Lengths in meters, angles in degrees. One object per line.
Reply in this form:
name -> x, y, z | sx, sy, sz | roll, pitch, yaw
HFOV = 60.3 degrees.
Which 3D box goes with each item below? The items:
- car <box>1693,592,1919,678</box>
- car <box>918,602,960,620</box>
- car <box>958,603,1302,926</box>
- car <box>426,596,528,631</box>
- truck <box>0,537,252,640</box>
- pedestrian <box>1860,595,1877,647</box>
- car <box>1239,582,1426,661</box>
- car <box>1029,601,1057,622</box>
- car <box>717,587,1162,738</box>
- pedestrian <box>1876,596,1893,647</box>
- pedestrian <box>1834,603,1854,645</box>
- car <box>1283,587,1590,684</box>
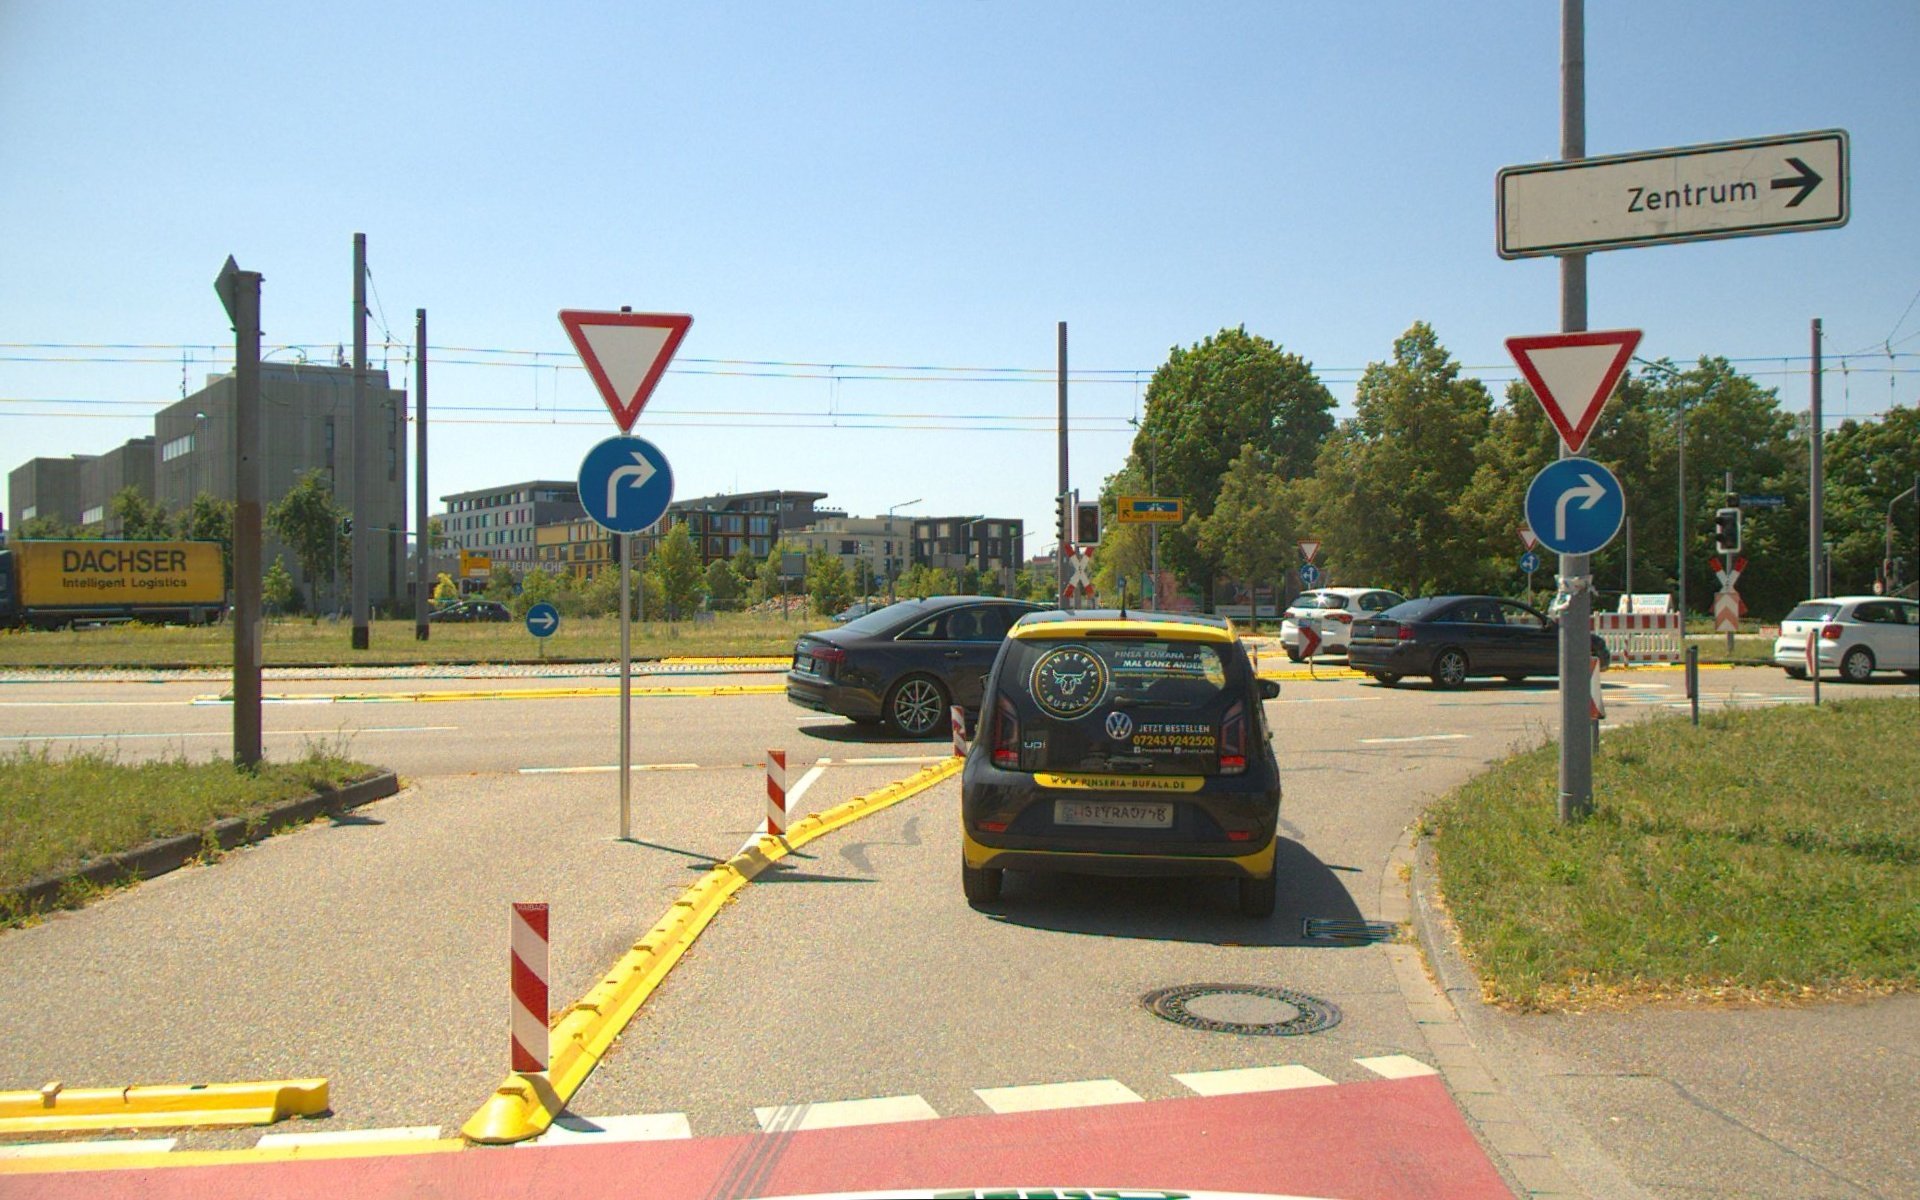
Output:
car -> 15.638, 0.626, 29.803 | 4.266, 1.474, 1.849 | 1, 0, -15
car -> -1.286, 0.689, 104.580 | 1.462, 1.109, 3.520 | 0, 0, 21
car -> 0.854, 0.770, 9.719 | 1.585, 1.477, 3.987 | 1, 0, 2
car -> -20.913, 0.583, 71.634 | 3.992, 1.487, 1.713 | 0, 0, -30
truck -> -32.762, -0.431, 64.080 | 9.540, 3.723, 2.664 | 0, 0, -44
pedestrian -> 31.405, 0.725, 57.171 | 0.438, 1.769, 0.291 | 0, 0, 11
car -> 7.747, 0.404, 34.123 | 1.964, 1.512, 4.342 | 0, 0, 41
car -> 5.662, 0.778, 112.257 | 1.623, 1.396, 3.034 | 0, 0, 9
car -> -0.256, 0.631, 18.372 | 4.565, 1.474, 1.989 | 0, 2, -19
pedestrian -> 31.919, 0.734, 57.107 | 0.438, 1.769, 0.318 | 0, 0, 11
pedestrian -> 30.320, 0.824, 56.718 | 0.509, 1.454, 0.352 | 0, 0, 9
car -> 7.807, 0.567, 27.053 | 4.681, 1.474, 1.985 | 1, 0, -24
